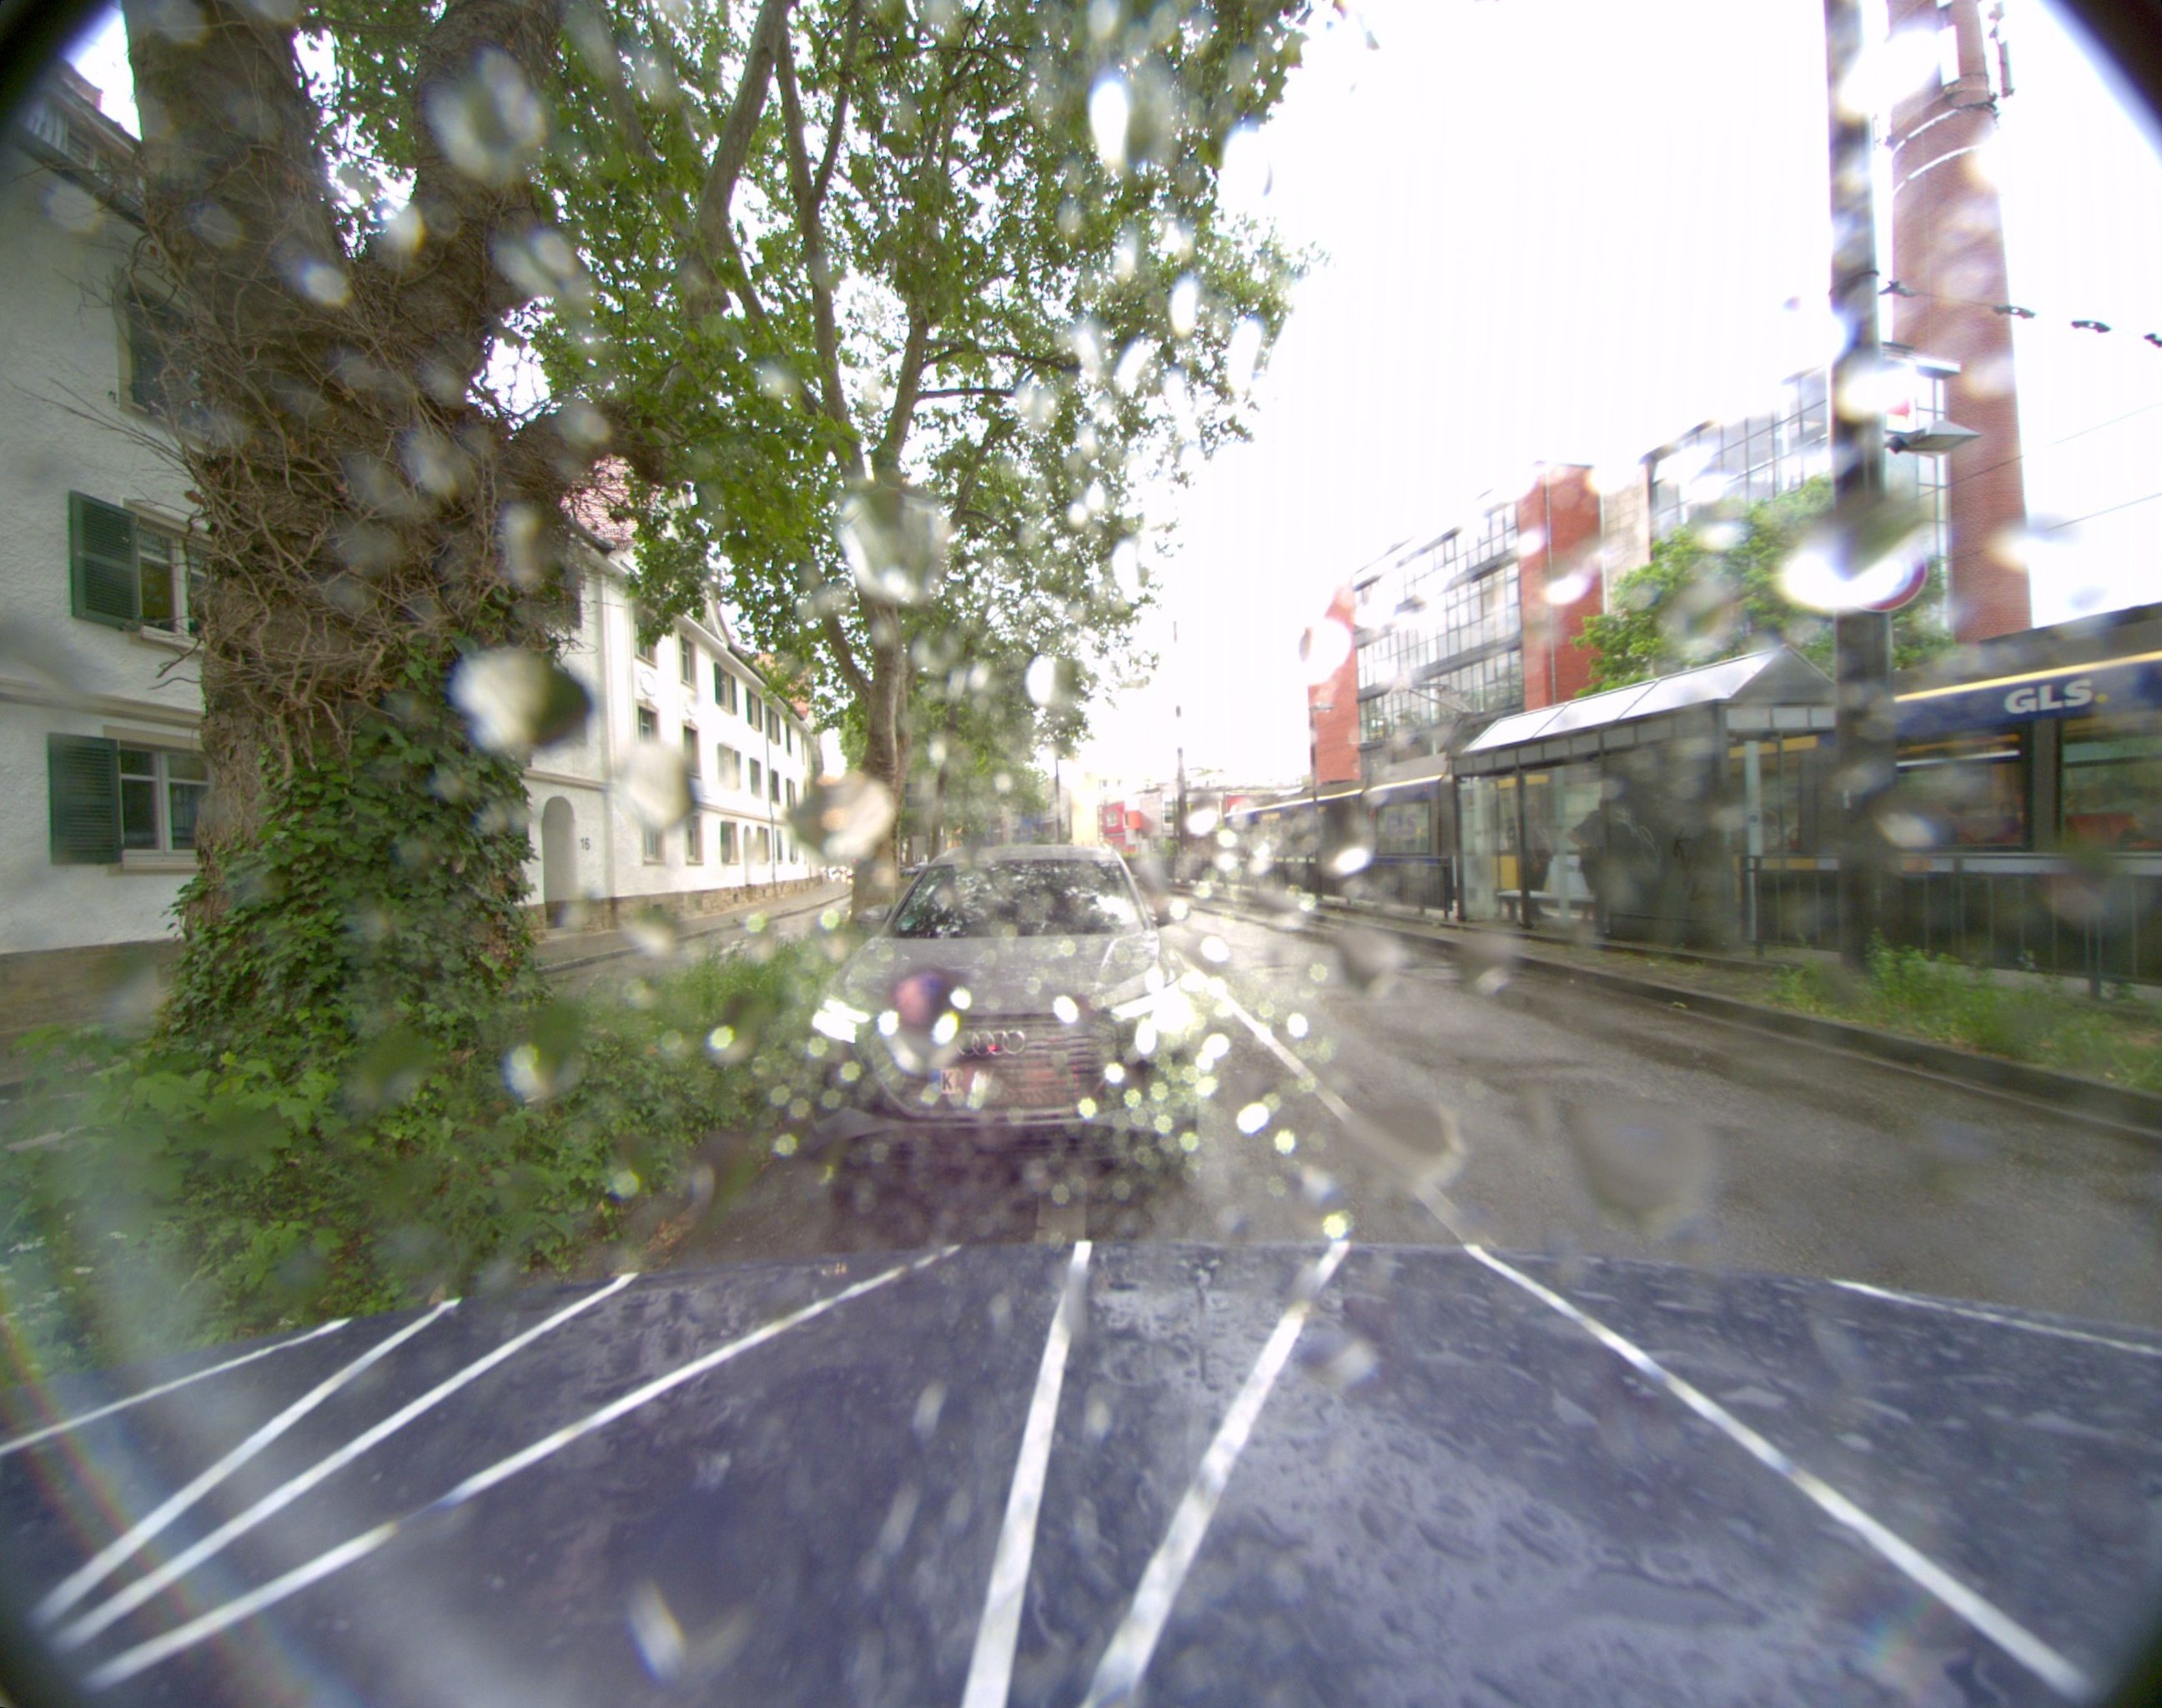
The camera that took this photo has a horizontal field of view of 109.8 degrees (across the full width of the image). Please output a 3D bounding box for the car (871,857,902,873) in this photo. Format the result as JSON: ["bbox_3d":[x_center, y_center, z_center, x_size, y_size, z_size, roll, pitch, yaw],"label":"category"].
[{"bbox_3d":[-26.682,1.526,104.372,4.002,2.002,1.997,-2,0,-17],"label":"car"}]

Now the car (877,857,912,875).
[{"bbox_3d":[-23.223,1.492,94.668,4.002,2.002,1.997,-2,0,-17],"label":"car"}]

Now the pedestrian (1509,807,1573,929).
[{"bbox_3d":[6.808,0.205,11.259,0.629,1.738,0.514,-2,1,9],"label":"pedestrian"}]

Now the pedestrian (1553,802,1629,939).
[{"bbox_3d":[6.734,0.213,10.059,0.629,1.738,0.564,-2,1,9],"label":"pedestrian"}]

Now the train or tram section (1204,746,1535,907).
[{"bbox_3d":[7.789,-0.641,24.756,2.869,3.525,15.361,-2,0,-8],"label":"train or tram section"}]

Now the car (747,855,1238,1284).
[{"bbox_3d":[-0.411,0.869,5.133,1.917,1.632,4.106,-2,0,-2],"label":"car"}]

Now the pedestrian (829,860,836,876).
[{"bbox_3d":[-29.324,1.673,89.574,0.674,1.811,0.678,-3,1,-18],"label":"pedestrian"}]

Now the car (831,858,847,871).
[{"bbox_3d":[-43.772,1.888,137.315,2.199,2.250,5.401,-3,0,-24],"label":"car"}]

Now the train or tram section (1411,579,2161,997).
[{"bbox_3d":[9.914,-0.601,10.323,2.869,3.525,13.704,-2,0,-9],"label":"train or tram section"}]

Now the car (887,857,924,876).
[{"bbox_3d":[-20.250,1.458,87.574,4.002,2.002,1.997,-2,0,-17],"label":"car"}]

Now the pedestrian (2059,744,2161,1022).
[{"bbox_3d":[7.556,0.184,4.951,0.986,1.815,1.076,0,-2,-10],"label":"pedestrian"}]
